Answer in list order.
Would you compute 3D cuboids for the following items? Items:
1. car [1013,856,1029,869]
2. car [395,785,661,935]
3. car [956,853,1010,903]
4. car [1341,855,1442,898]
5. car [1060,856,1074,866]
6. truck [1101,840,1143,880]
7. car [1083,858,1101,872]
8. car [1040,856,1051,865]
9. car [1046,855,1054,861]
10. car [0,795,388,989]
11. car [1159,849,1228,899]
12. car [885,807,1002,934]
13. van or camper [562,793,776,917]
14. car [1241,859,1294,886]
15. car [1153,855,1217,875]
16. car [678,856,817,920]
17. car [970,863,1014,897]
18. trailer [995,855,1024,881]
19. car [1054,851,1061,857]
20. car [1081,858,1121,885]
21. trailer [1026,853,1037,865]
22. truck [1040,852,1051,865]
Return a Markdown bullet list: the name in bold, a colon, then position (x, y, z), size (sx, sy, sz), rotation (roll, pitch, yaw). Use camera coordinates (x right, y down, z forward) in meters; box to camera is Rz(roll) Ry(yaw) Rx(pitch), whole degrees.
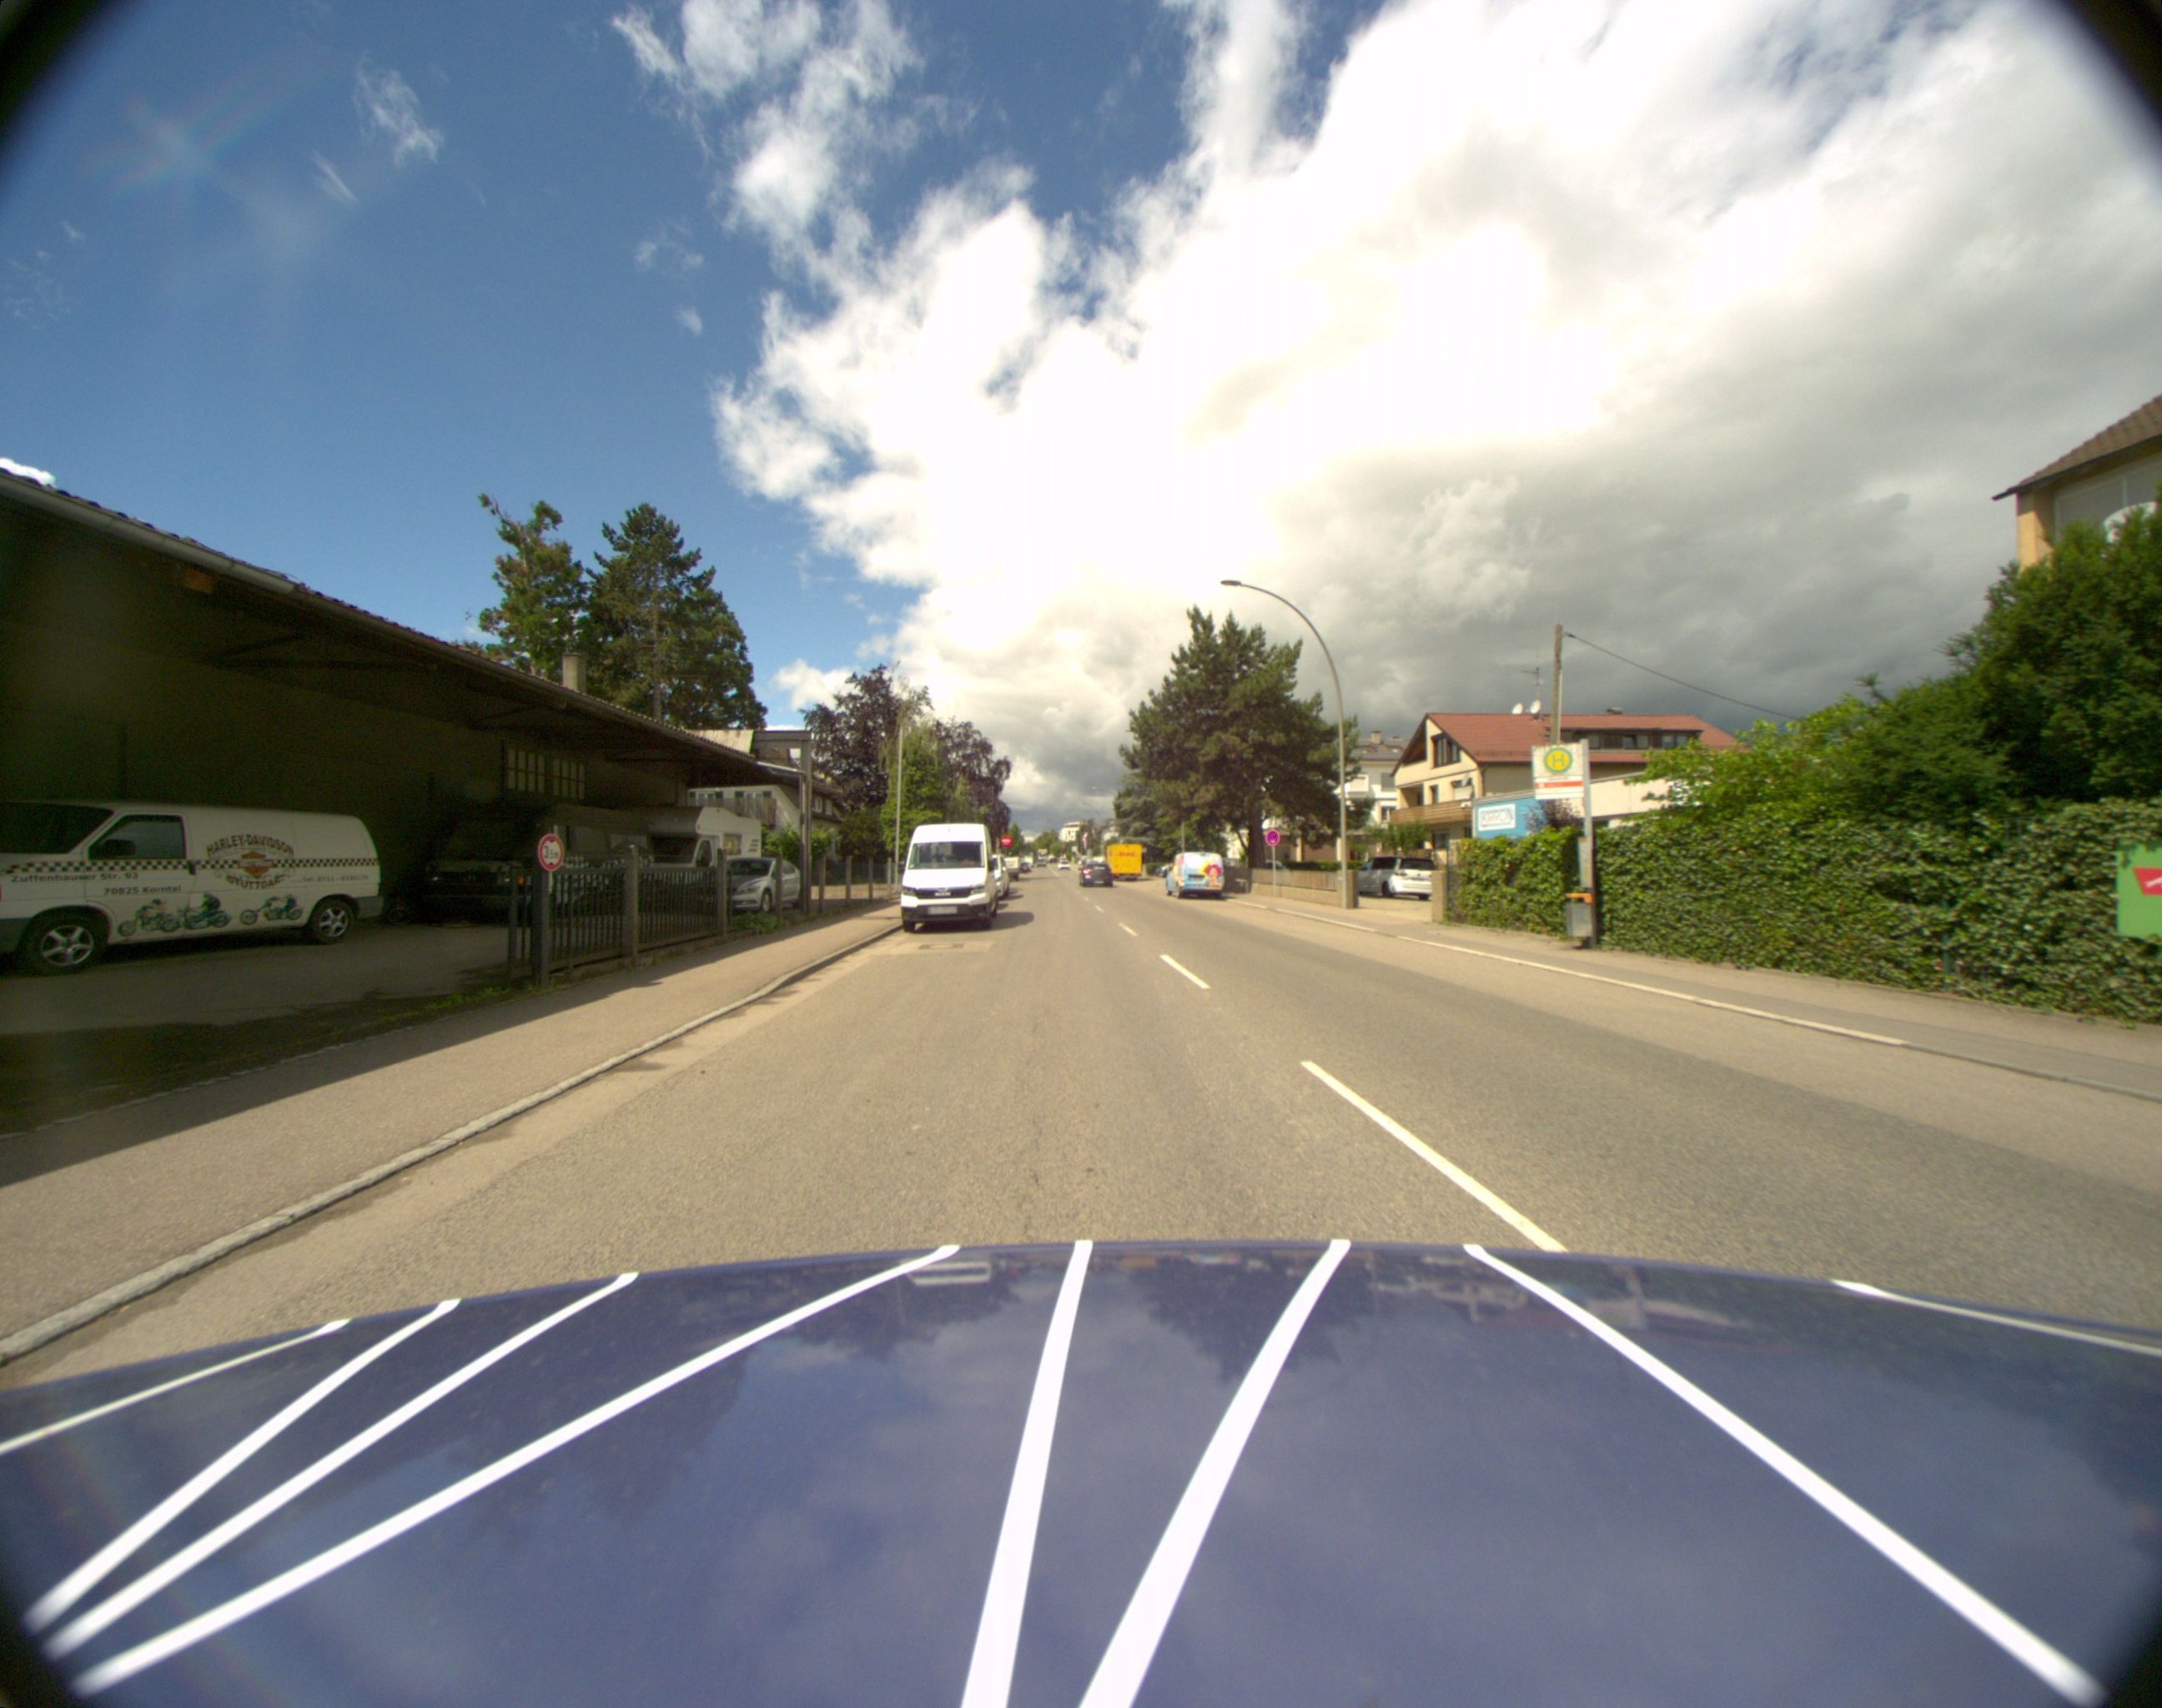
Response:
- **car**: position (-7.419, 1.059, 94.136), size (1.760, 1.455, 3.999), rotation (-2, 0, -3)
- **car**: position (-11.385, 0.161, 16.329), size (2.023, 2.665, 5.496), rotation (0, -1, -4)
- **car**: position (-4.064, 0.955, 32.210), size (1.910, 1.874, 5.388), rotation (-2, 0, -4)
- **car**: position (14.051, 0.949, 34.822), size (2.085, 1.820, 5.477), rotation (0, 0, -3)
- **car**: position (-2.209, 1.097, 120.317), size (1.988, 1.411, 3.998), rotation (0, 0, -5)
- **truck**: position (3.237, 0.450, 61.461), size (2.330, 2.985, 7.815), rotation (2, 0, -4)
- **car**: position (1.329, 1.320, 93.350), size (1.809, 1.666, 4.126), rotation (1, 0, -3)
- **car**: position (-7.138, 1.293, 152.226), size (1.999, 1.802, 3.999), rotation (-1, 0, -3)
- **car**: position (-10.725, 1.217, 259.620), size (2.385, 2.002, 6.382), rotation (0, 0, -5)
- **car**: position (-11.672, 0.404, 9.362), size (1.999, 1.898, 4.852), rotation (0, -1, -3)
- **car**: position (4.572, 0.816, 31.708), size (1.838, 1.842, 4.895), rotation (3, -1, -3)
- **car**: position (-3.256, 0.371, 19.402), size (2.221, 2.673, 6.655), rotation (0, 0, -4)
- **van or camper**: position (-11.577, 0.024, 22.259), size (2.889, 3.043, 6.910), rotation (0, 0, -4)
- **car**: position (11.172, 1.082, 45.838), size (1.772, 1.534, 4.085), rotation (0, 0, -7)
- **car**: position (8.754, 0.917, 64.091), size (5.022, 1.543, 1.972), rotation (0, 0, -5)
- **car**: position (-8.685, 0.838, 20.303), size (1.769, 1.480, 4.925), rotation (-1, -1, -3)
- **car**: position (-4.359, 1.239, 37.695), size (1.759, 1.442, 4.992), rotation (-3, 0, -3)
- **trailer**: position (-5.436, 1.023, 58.294), size (1.999, 1.812, 4.763), rotation (-2, 0, -3)
- **car**: position (-6.664, 0.078, 212.060), size (1.860, 1.685, 3.999), rotation (-1, 0, -3)
- **car**: position (1.087, 0.961, 43.454), size (1.906, 1.509, 4.317), rotation (0, 0, -4)
- **trailer**: position (-10.007, 0.998, 152.745), size (2.045, 2.214, 5.078), rotation (0, 0, -2)
- **truck**: position (-9.718, 1.252, 209.220), size (2.881, 3.290, 8.604), rotation (-2, 1, -3)
